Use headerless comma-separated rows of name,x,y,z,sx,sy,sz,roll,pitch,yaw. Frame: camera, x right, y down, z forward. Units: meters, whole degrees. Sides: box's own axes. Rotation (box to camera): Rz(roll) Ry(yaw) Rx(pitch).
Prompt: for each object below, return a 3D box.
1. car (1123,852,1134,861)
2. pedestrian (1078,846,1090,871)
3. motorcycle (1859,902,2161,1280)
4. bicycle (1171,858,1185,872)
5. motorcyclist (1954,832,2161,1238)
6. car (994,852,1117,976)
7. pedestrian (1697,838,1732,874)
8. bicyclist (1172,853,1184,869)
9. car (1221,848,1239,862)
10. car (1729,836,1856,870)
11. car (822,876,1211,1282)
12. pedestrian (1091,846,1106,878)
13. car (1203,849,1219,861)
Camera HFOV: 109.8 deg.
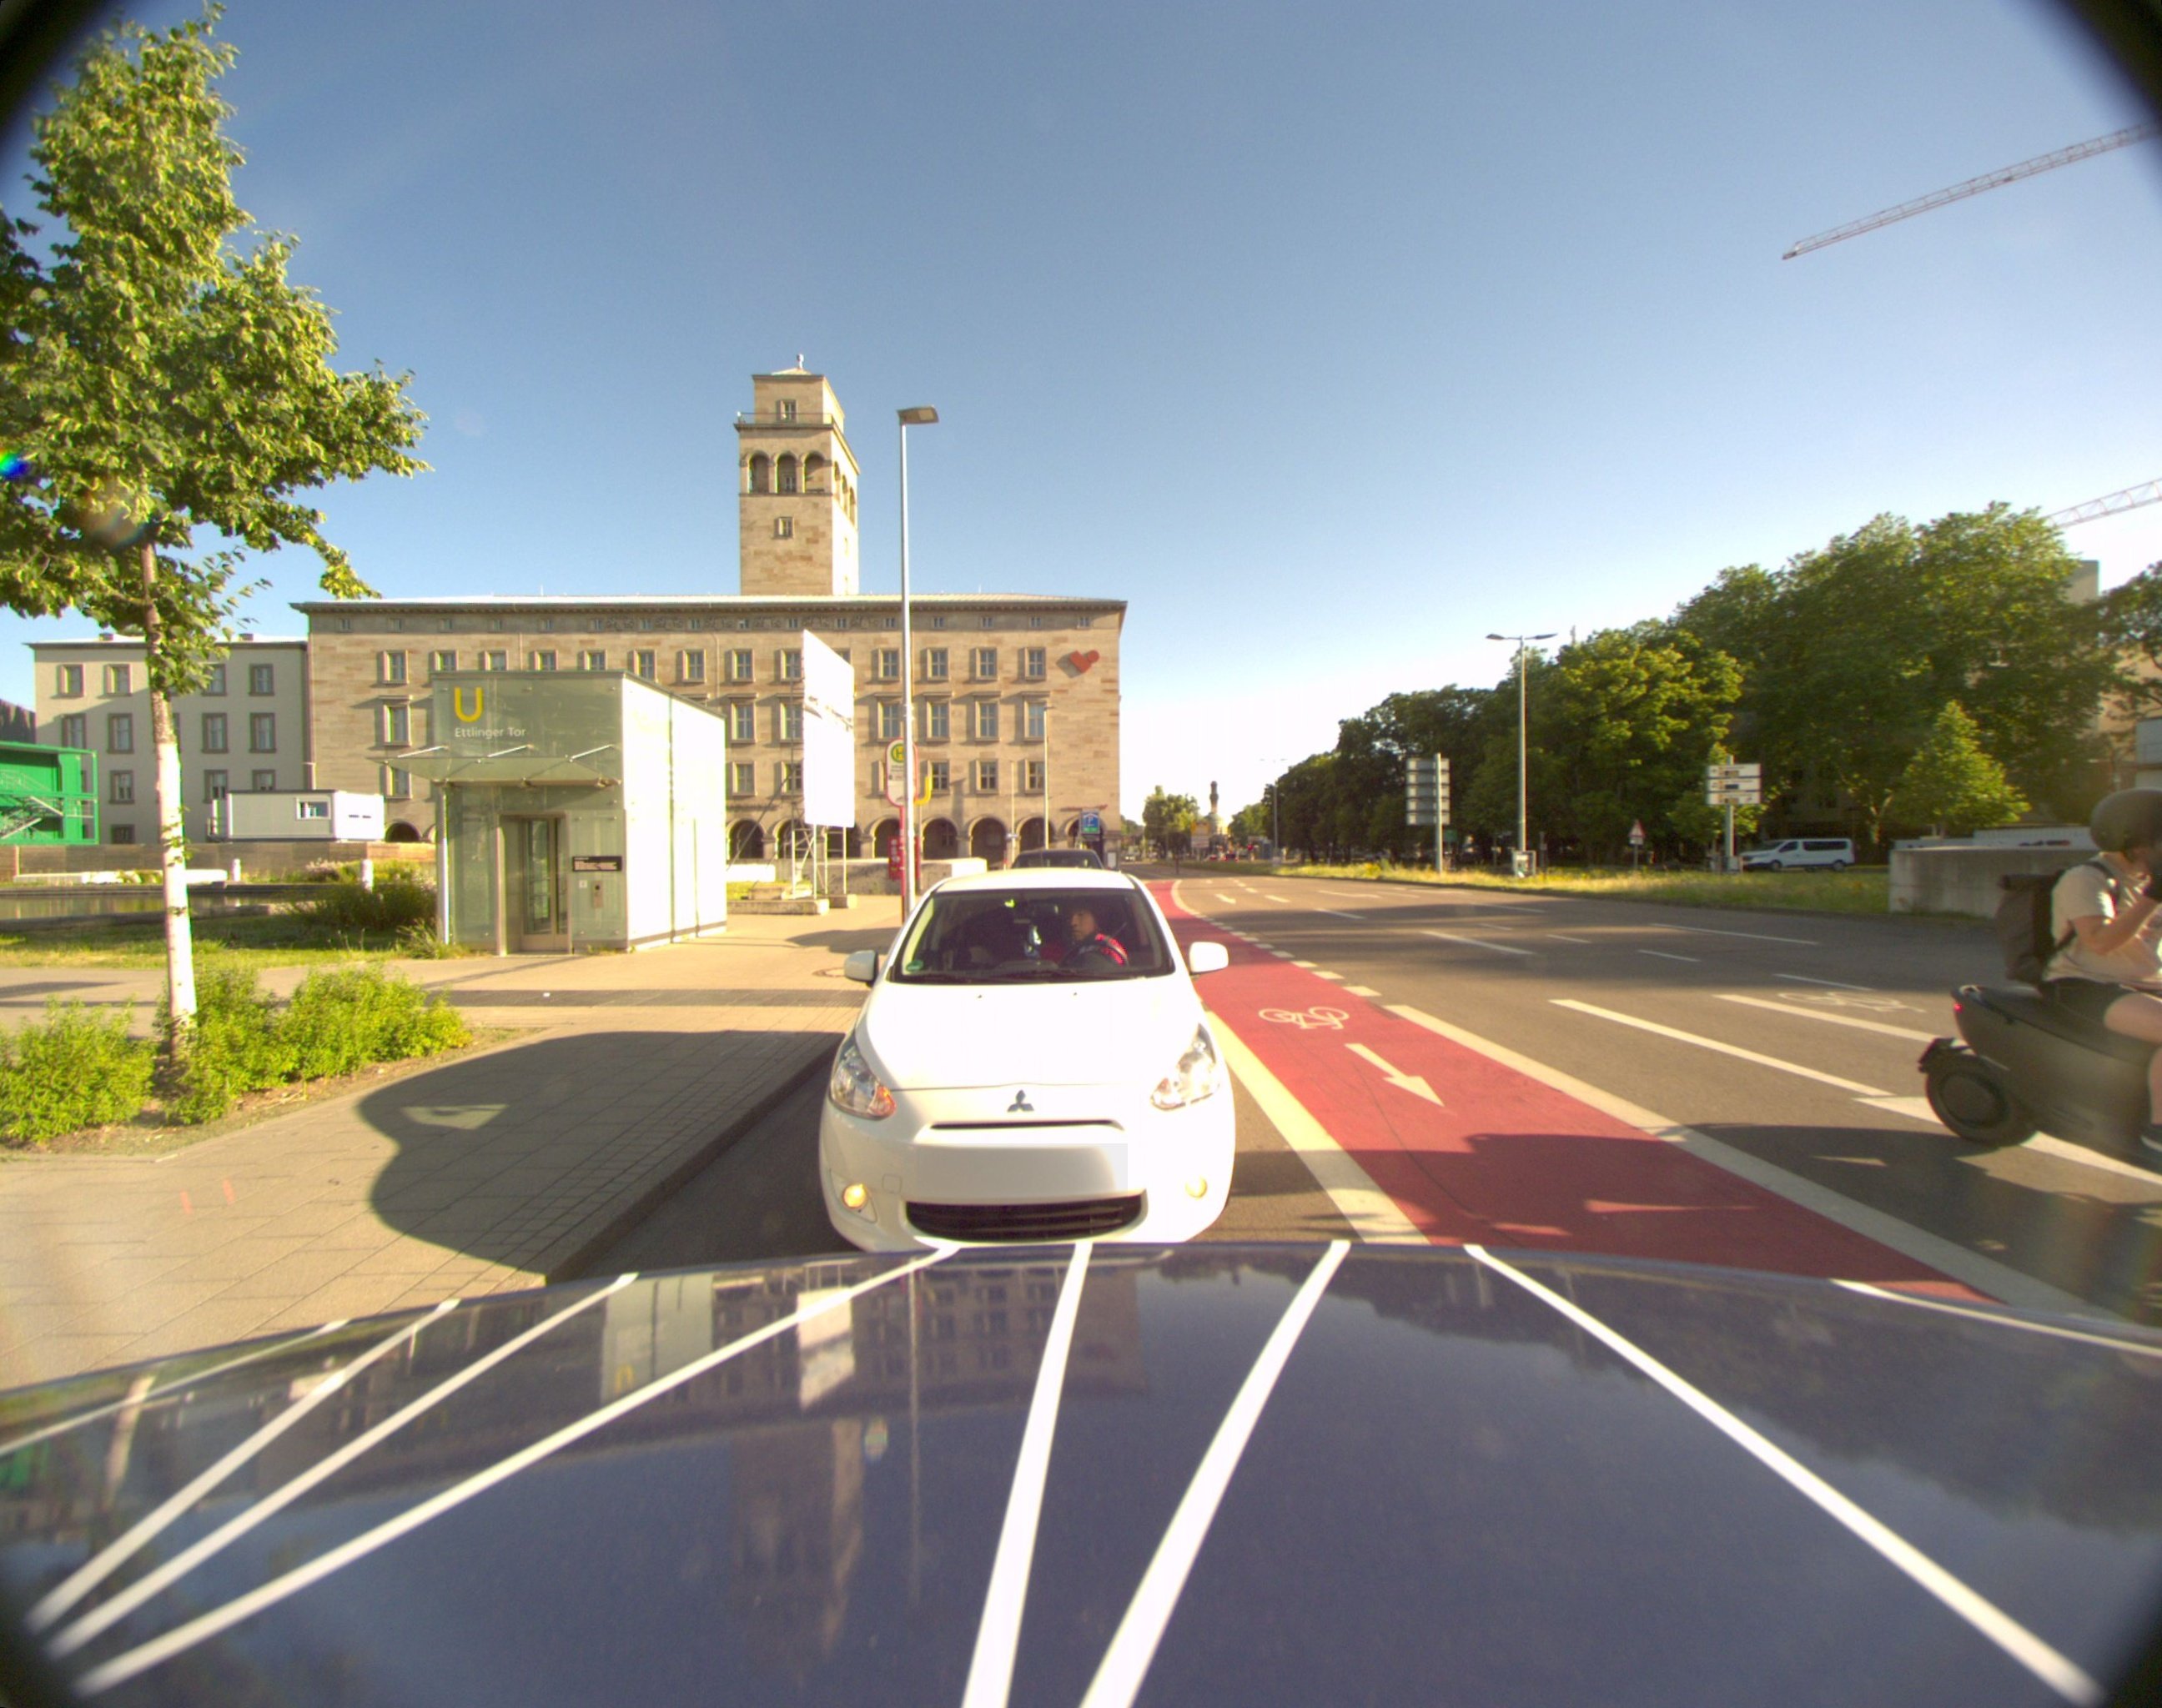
car,10.398,0.485,166.440,1.877,1.827,4.584,-2,1,-3
pedestrian,0.288,0.496,79.214,1.122,2.524,1.055,-2,1,1
motorcycle,4.283,0.896,2.877,0.724,1.286,1.884,-2,0,1
bicycle,8.375,0.969,65.604,0.854,1.109,2.808,-2,0,1
motorcyclist,4.275,0.652,2.930,0.727,1.466,0.917,-2,0,1
car,-0.374,0.835,12.510,1.642,1.653,3.849,-2,0,-1
pedestrian,33.777,0.094,40.501,0.989,1.821,1.019,-2,1,-3
bicyclist,8.389,0.630,65.681,0.854,1.340,0.829,-2,1,1
car,21.584,0.109,110.153,1.819,1.817,3.999,-2,1,1
car,42.130,-0.055,45.105,5.516,1.924,2.065,-1,1,2
car,-0.234,0.951,4.831,1.496,1.477,3.604,-2,0,1
pedestrian,1.395,0.659,61.276,1.122,2.524,1.055,-2,1,1
car,20.578,0.104,120.433,1.747,1.778,3.947,-2,1,1
